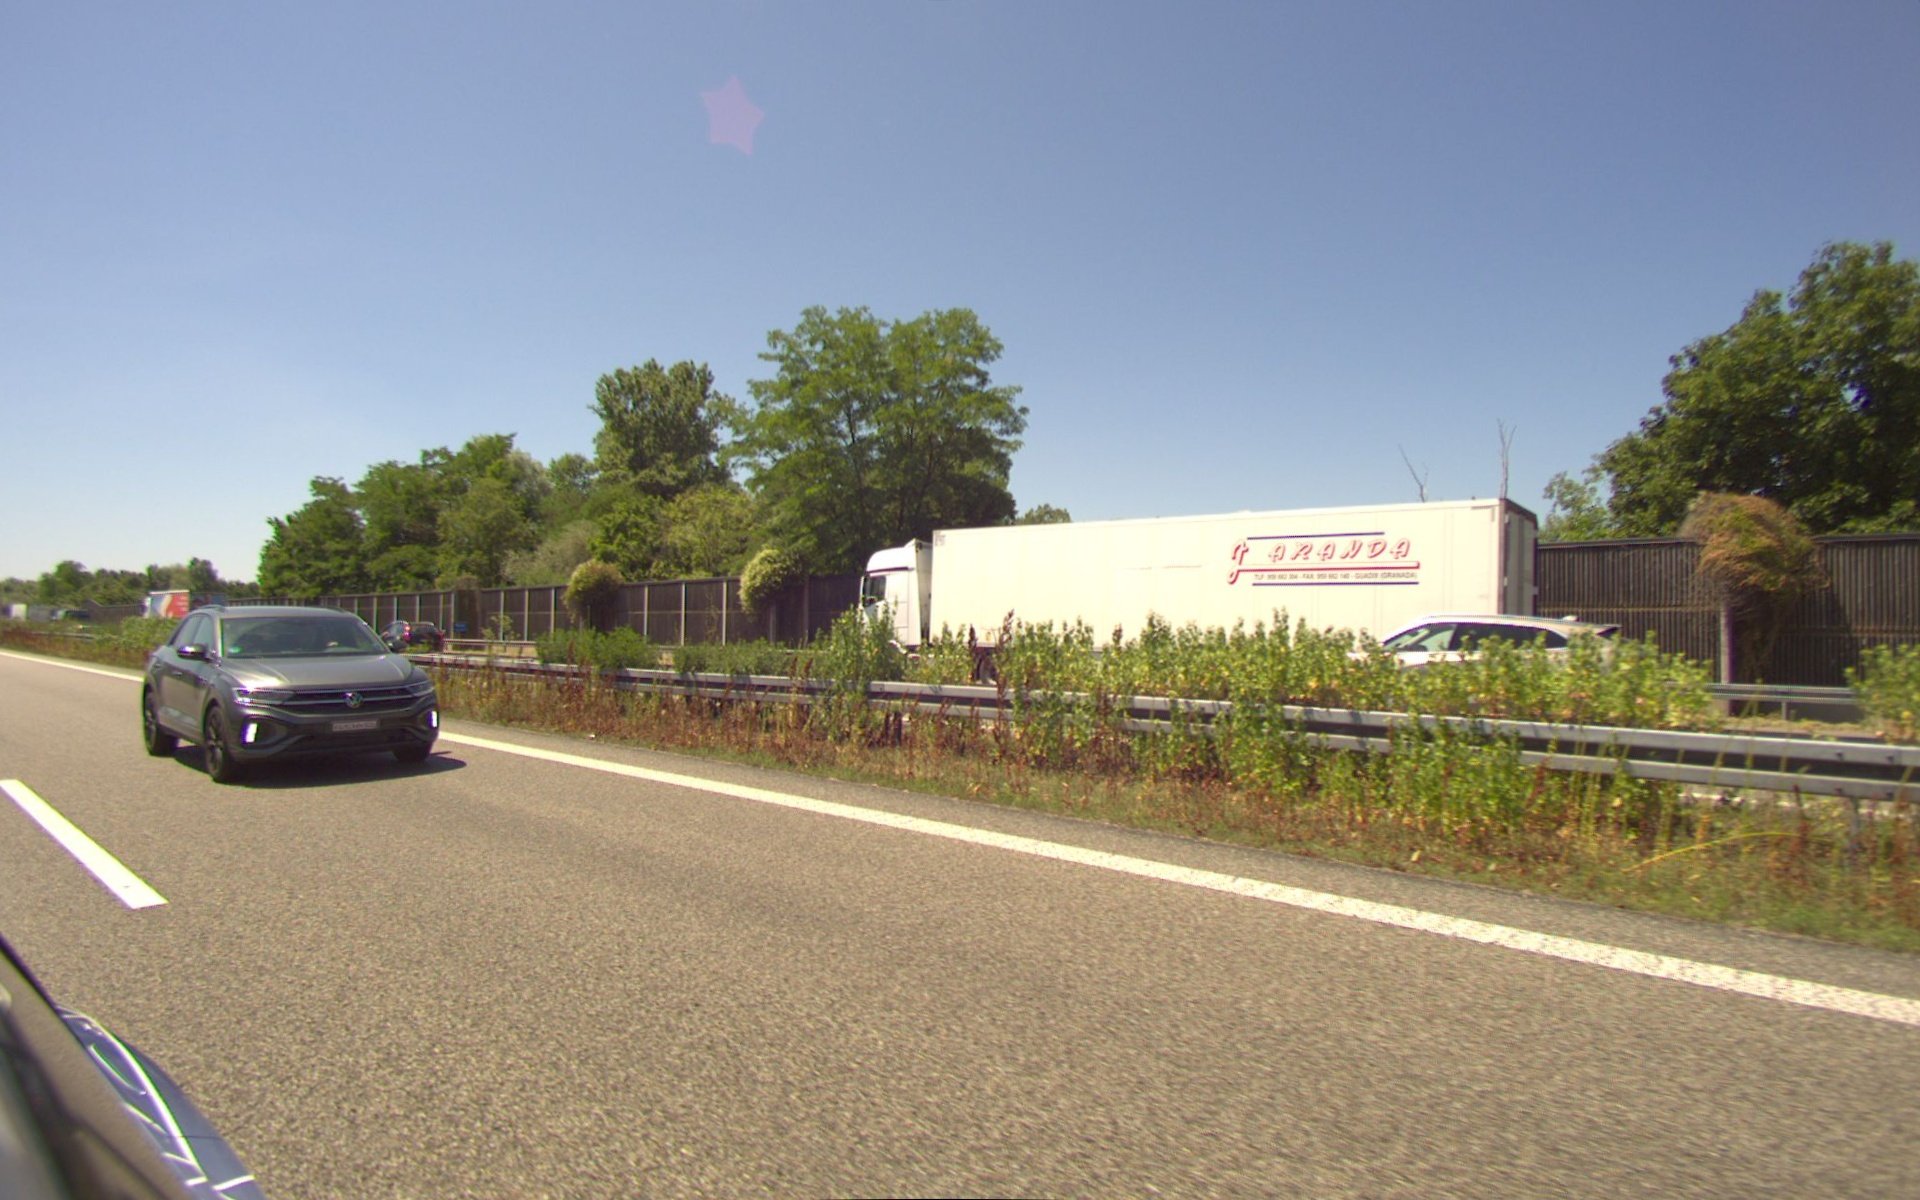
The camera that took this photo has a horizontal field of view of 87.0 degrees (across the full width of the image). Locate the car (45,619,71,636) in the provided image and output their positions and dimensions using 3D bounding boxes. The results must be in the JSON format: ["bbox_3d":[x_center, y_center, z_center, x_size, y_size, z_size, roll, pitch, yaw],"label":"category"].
[{"bbox_3d":[-111.164,3.356,124.713,4.764,2.103,1.870,-1,-1,41],"label":"car"}]

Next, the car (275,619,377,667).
[{"bbox_3d":[-22.735,1.502,36.197,4.746,1.608,1.803,-1,-2,41],"label":"car"}]

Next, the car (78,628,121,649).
[{"bbox_3d":[-63.050,2.786,74.156,4.497,1.423,1.759,-1,-1,41],"label":"car"}]

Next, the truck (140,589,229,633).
[{"bbox_3d":[-65.210,1.032,84.839,16.997,3.367,2.808,-2,-1,42],"label":"truck"}]

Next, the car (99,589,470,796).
[{"bbox_3d":[-7.133,0.821,10.443,5.004,1.652,1.861,-2,-2,40],"label":"car"}]

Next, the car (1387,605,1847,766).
[{"bbox_3d":[7.762,0.904,12.259,4.438,1.608,1.803,-1,-2,41],"label":"car"}]

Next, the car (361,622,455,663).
[{"bbox_3d":[-23.015,1.746,42.135,4.504,1.608,1.972,-1,-2,41],"label":"car"}]

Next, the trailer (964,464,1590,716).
[{"bbox_3d":[6.061,-0.030,22.219,12.790,4.135,3.573,-1,-2,41],"label":"trailer"}]

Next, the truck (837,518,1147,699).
[{"bbox_3d":[0.669,0.292,27.060,7.835,4.135,3.544,-1,-2,41],"label":"truck"}]

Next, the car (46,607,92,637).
[{"bbox_3d":[-85.751,2.122,97.359,7.581,2.582,2.292,-1,3,42],"label":"car"}]
